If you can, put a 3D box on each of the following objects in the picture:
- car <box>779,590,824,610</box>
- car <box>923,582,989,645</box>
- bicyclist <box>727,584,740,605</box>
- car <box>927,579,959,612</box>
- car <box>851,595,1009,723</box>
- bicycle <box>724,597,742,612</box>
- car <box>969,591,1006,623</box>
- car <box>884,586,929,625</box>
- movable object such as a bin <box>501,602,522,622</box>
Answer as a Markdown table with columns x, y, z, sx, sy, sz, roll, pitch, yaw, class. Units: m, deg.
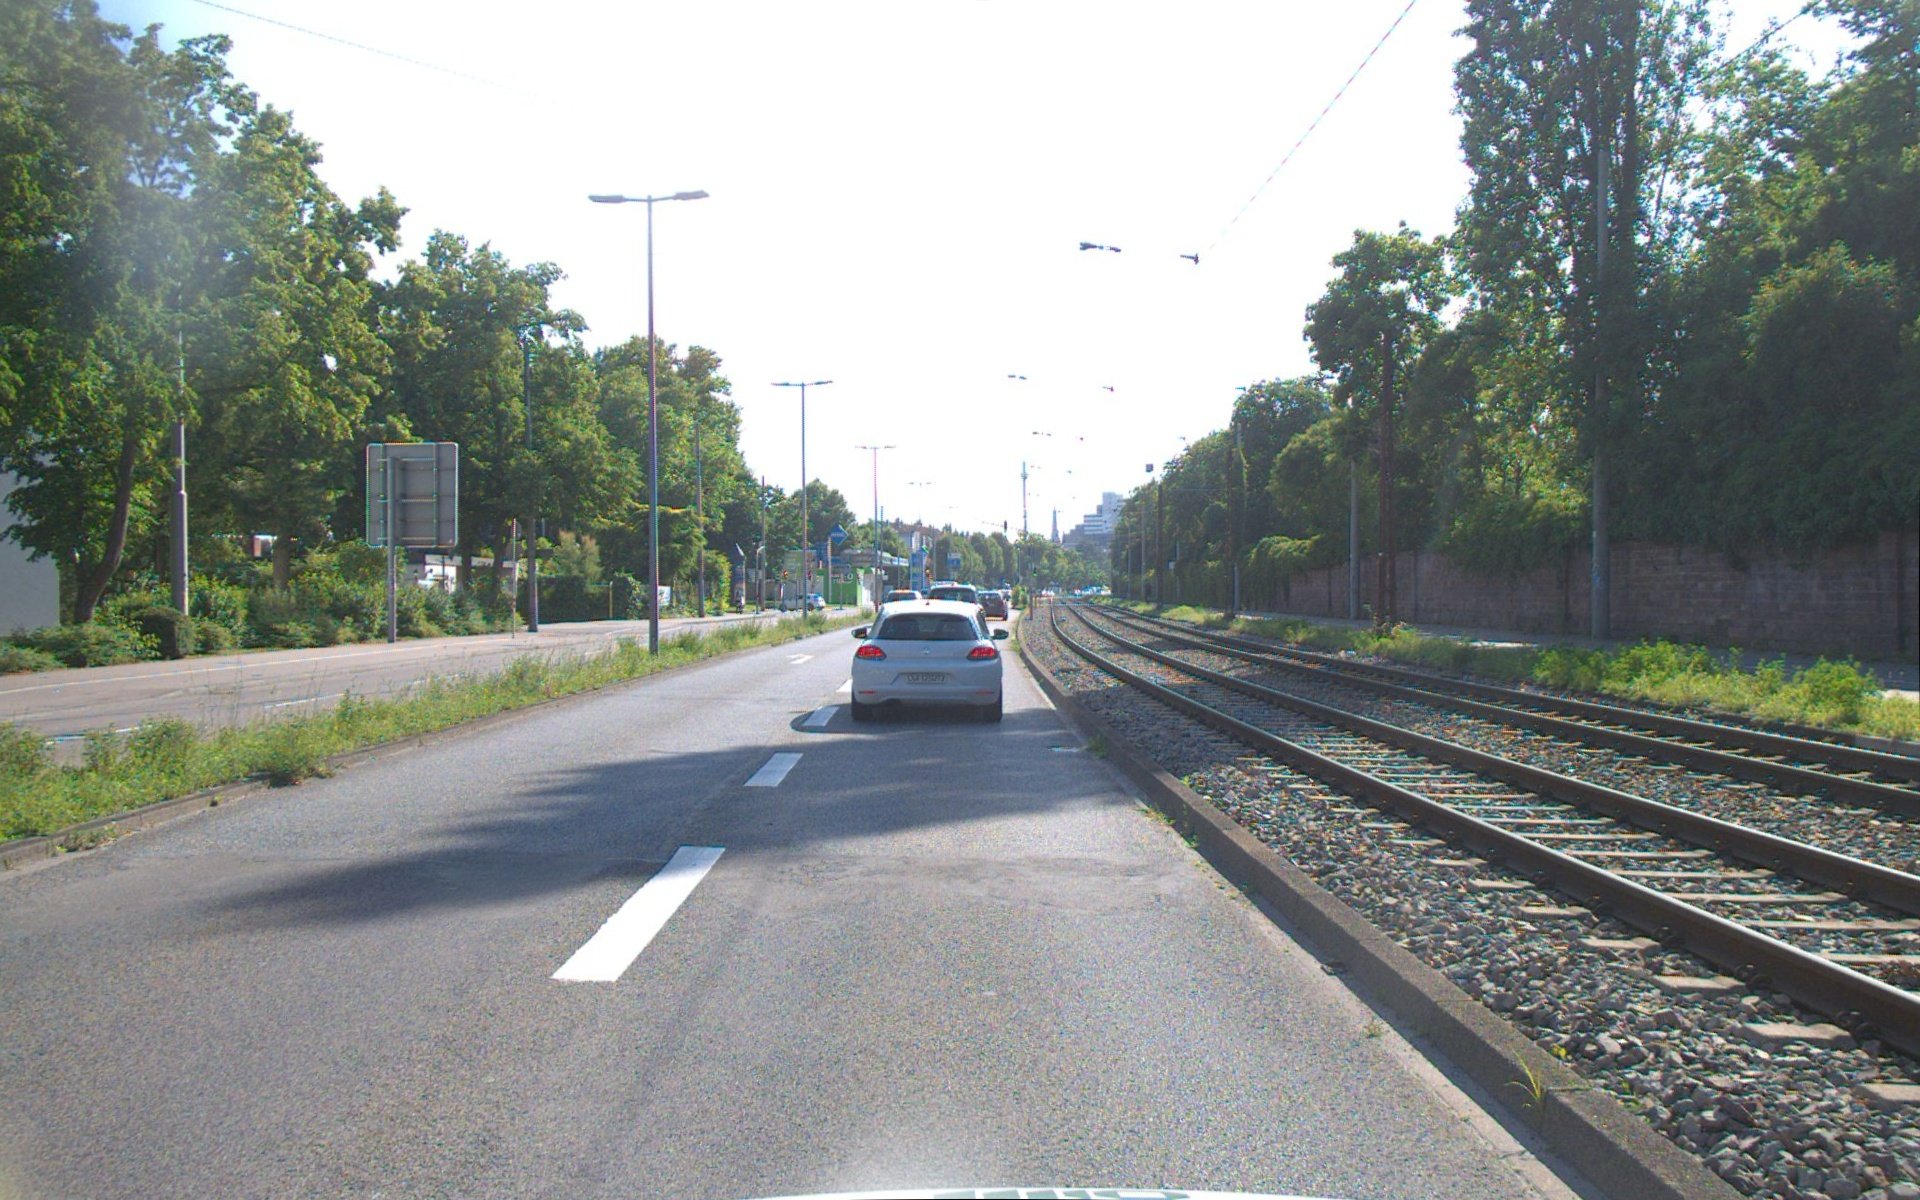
| x | y | z | sx | sy | sz | roll | pitch | yaw | class |
| --- | --- | --- | --- | --- | --- | --- | --- | --- | --- |
| -13.591 | 0.021 | 141.996 | 3.520 | 1.616 | 1.696 | 2 | 0 | 29 | car |
| -0.120 | 0.329 | 45.080 | 1.689 | 1.620 | 3.601 | 1 | 0 | -1 | car |
| -16.268 | -0.413 | 118.754 | 0.647 | 1.478 | 1.051 | -1 | 0 | 6 | bicyclist |
| -1.011 | -0.268 | 102.763 | 1.780 | 1.997 | 4.403 | -1 | 0 | 2 | car |
| -0.354 | 0.657 | 20.379 | 1.744 | 1.380 | 3.601 | 1 | 0 | -1 | car |
| -16.267 | 0.298 | 118.699 | 0.647 | 1.068 | 2.582 | -1 | 0 | 6 | bicycle |
| 1.358 | 0.325 | 83.012 | 1.713 | 1.511 | 3.601 | 1 | 0 | -1 | car |
| -2.204 | 0.209 | 68.956 | 1.724 | 1.511 | 4.644 | 1 | 0 | -1 | car |
| -22.184 | 0.577 | 81.833 | 0.799 | 0.947 | 0.853 | -1 | 0 | 2 | movable object such as a bin |
